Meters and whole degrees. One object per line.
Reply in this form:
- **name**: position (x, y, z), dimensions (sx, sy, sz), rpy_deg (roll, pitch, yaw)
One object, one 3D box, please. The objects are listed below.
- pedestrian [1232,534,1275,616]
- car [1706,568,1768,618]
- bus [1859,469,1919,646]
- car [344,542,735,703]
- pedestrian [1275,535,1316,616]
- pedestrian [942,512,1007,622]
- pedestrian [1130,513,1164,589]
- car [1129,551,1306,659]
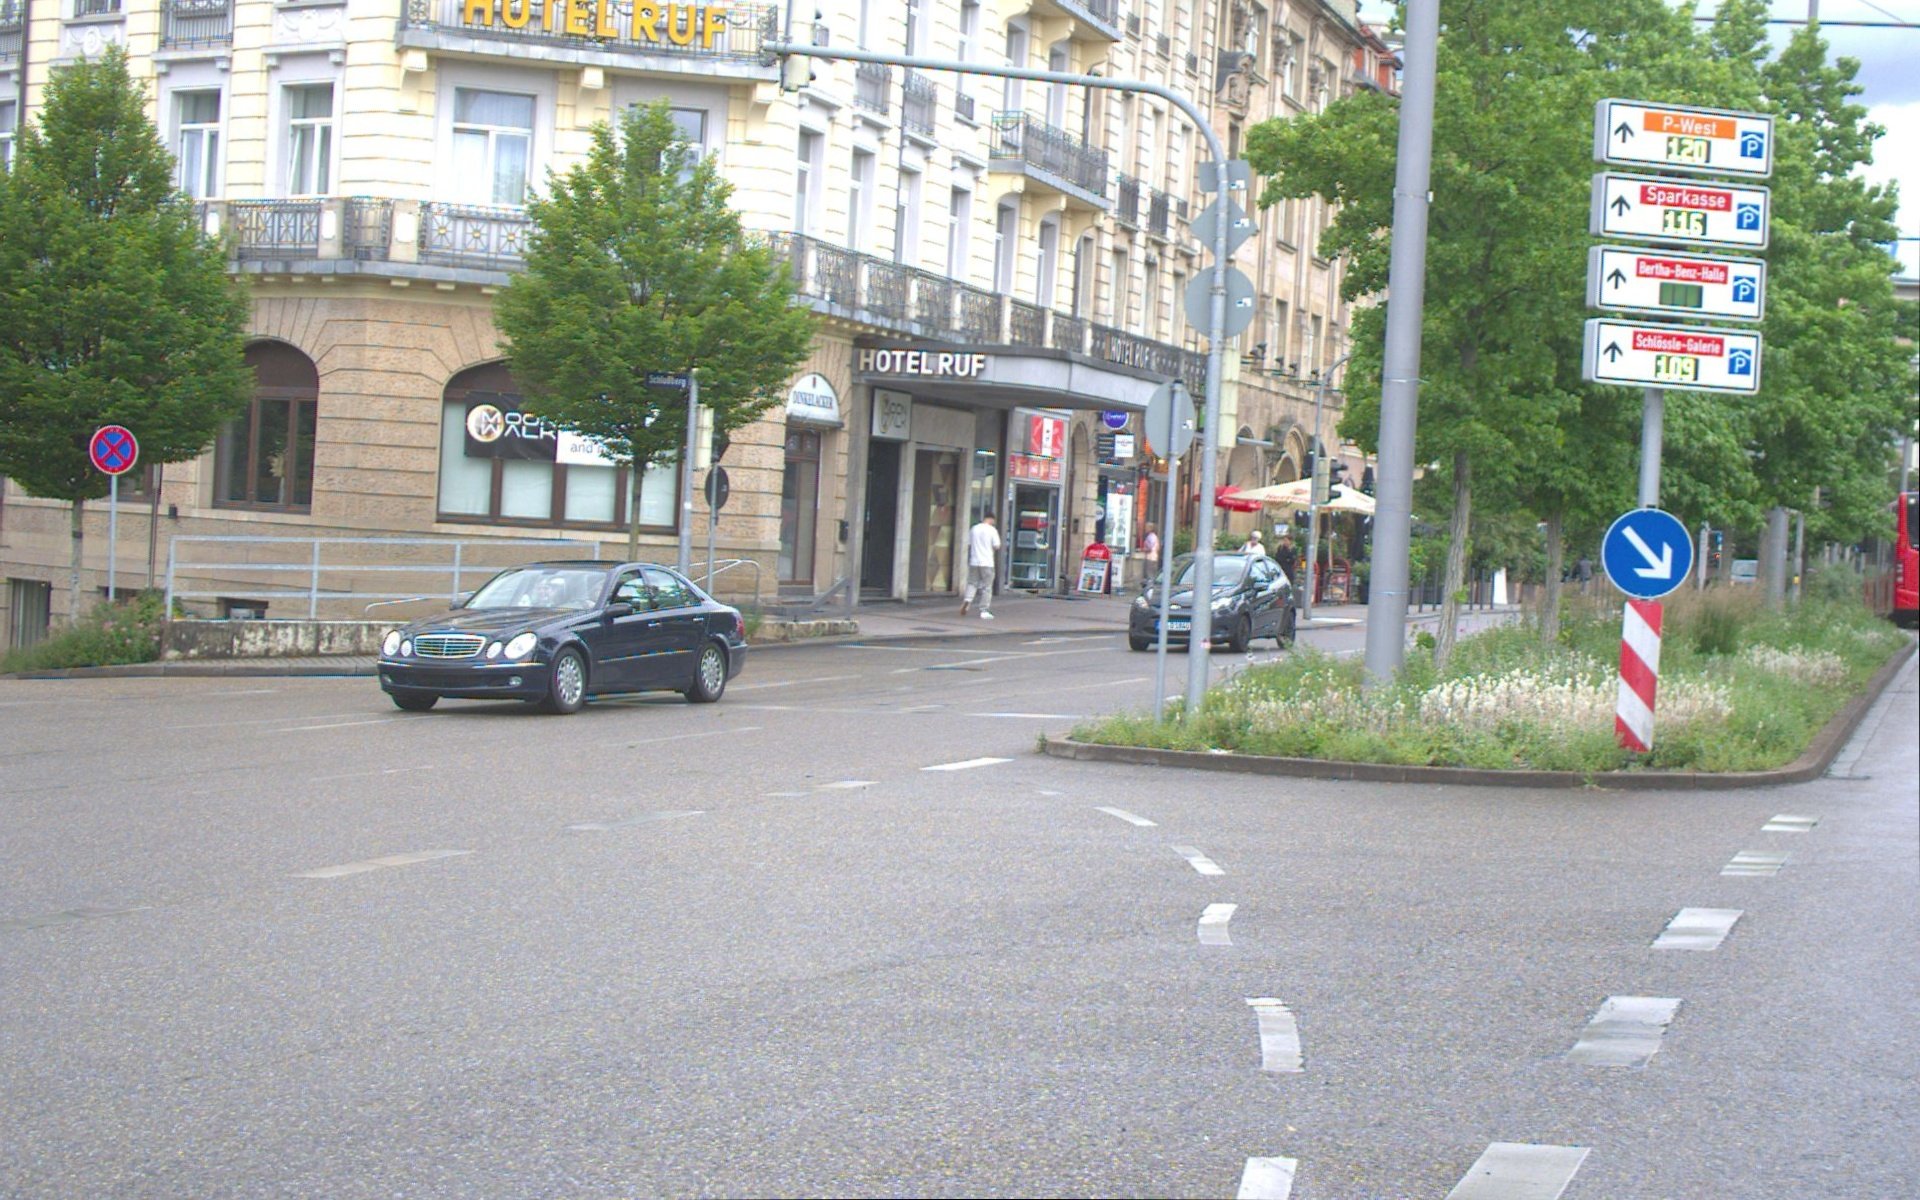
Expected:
- **pedestrian**: position (6.059, -0.516, 70.964), dimensions (0.682, 1.658, 0.806), rpy_deg (1, 0, 20)
- **car**: position (32.478, -0.291, 143.677), dimensions (1.995, 2.007, 4.996), rpy_deg (1, 0, 19)
- **bus**: position (23.603, -0.950, 82.499), dimensions (3.547, 3.966, 11.162), rpy_deg (1, 0, 16)
- **car**: position (-3.945, 0.195, 32.938), dimensions (1.958, 1.418, 3.995), rpy_deg (1, 0, 23)
- **pedestrian**: position (6.906, -0.504, 70.745), dimensions (0.682, 1.658, 0.806), rpy_deg (1, 0, 17)
- **pedestrian**: position (0.240, -0.549, 57.520), dimensions (0.880, 1.806, 0.750), rpy_deg (1, 0, 17)
- **pedestrian**: position (4.108, -1.073, 75.370), dimensions (0.667, 1.658, 0.536), rpy_deg (1, 0, 9)
- **car**: position (3.822, 0.063, 50.440), dimensions (1.678, 1.507, 3.860), rpy_deg (1, 0, 18)
